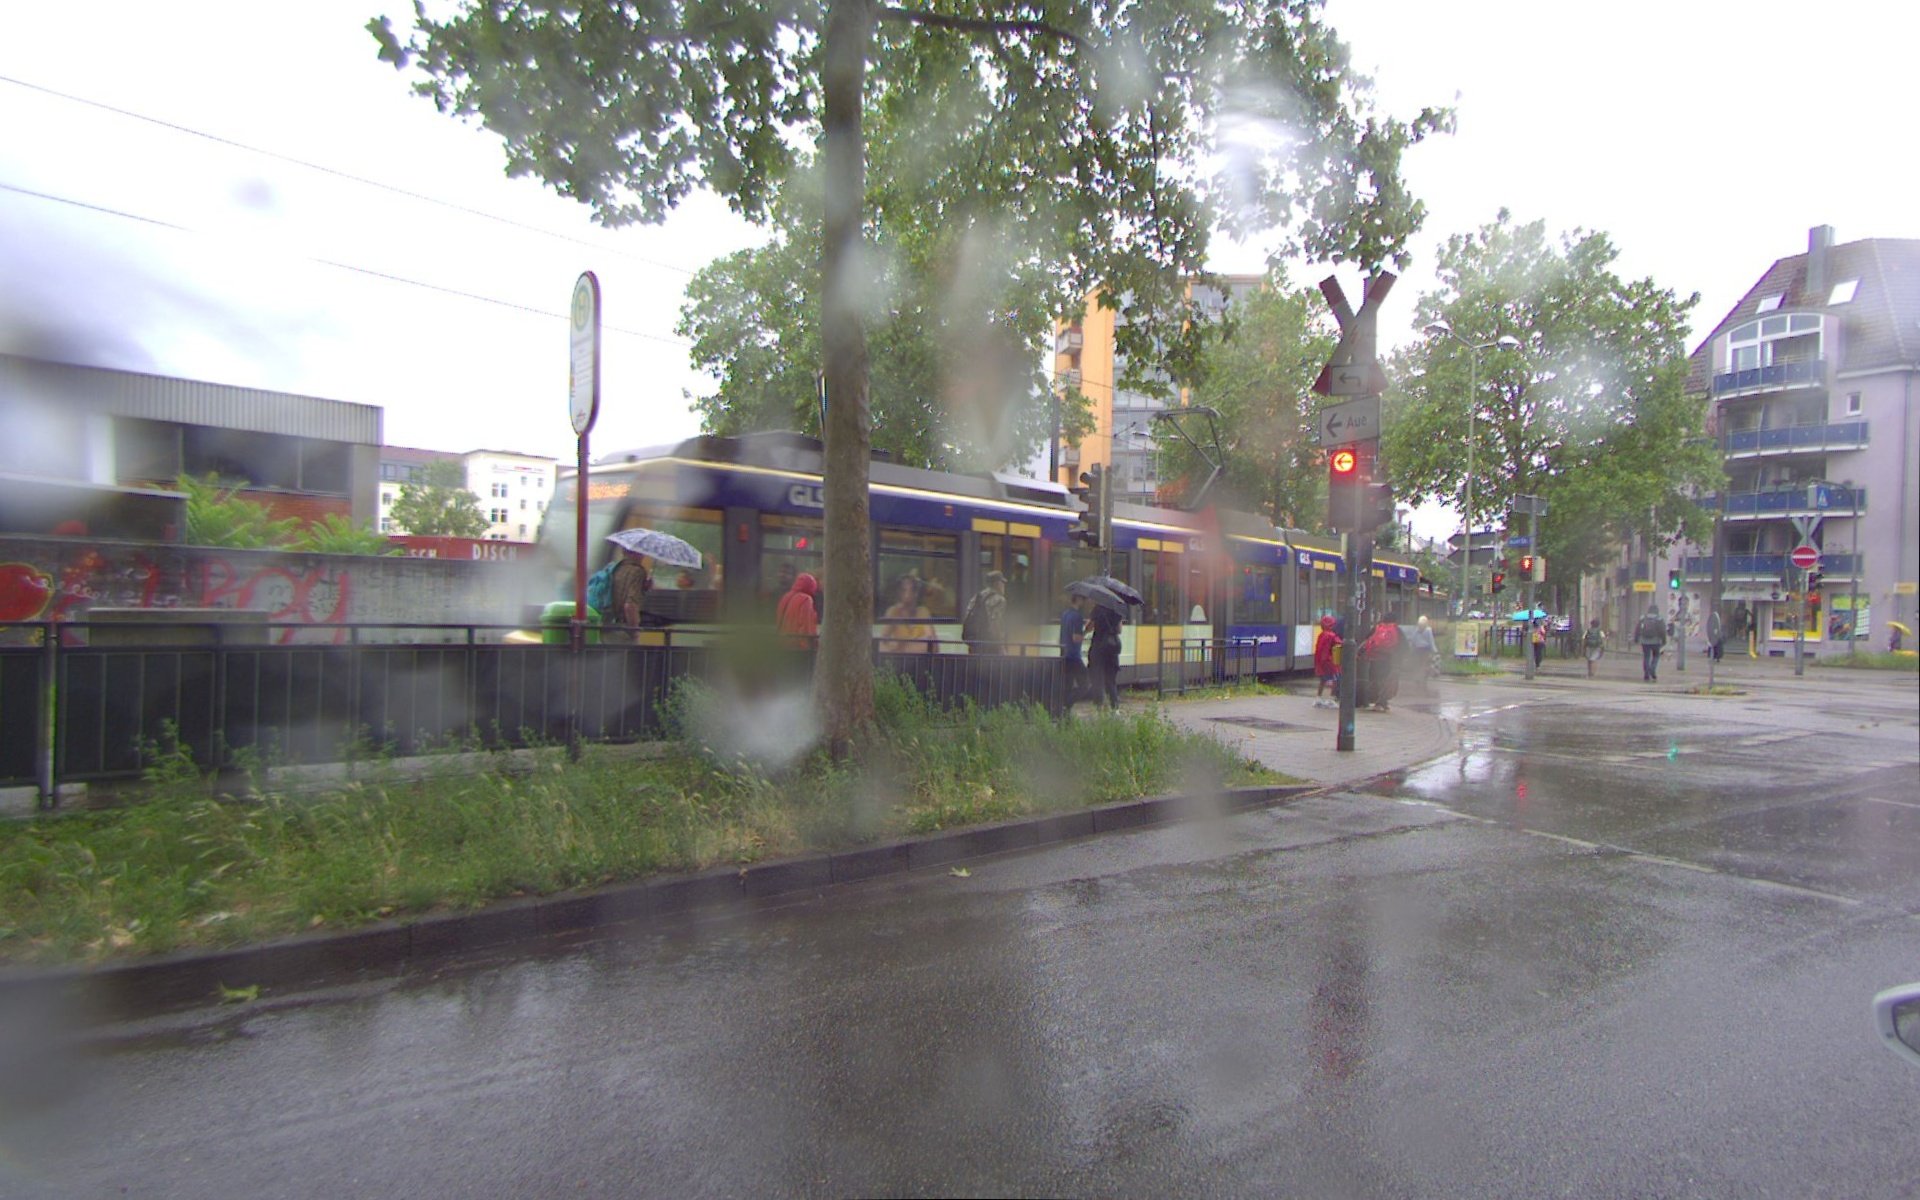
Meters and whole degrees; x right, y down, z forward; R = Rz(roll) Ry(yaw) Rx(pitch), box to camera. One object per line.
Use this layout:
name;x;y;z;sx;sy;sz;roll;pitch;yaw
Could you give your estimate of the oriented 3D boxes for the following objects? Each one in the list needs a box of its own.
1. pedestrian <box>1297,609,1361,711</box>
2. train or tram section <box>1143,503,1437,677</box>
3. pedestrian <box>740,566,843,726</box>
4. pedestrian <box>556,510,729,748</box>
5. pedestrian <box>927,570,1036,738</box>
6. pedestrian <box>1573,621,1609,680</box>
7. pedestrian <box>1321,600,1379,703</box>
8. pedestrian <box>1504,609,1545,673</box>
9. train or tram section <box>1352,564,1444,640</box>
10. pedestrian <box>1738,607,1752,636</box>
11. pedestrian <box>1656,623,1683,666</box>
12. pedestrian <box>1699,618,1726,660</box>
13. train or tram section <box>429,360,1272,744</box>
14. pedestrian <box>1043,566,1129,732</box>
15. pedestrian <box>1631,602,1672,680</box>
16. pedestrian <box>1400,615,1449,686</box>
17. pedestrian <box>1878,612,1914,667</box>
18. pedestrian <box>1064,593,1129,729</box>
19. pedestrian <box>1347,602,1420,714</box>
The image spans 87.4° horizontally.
pedestrian;5.769;0.924;15.714;0.653;1.540;0.676;1;0;-39
train or tram section;9.506;-0.113;26.974;2.825;3.593;13.656;2;0;39
pedestrian;-1.749;0.468;10.469;0.783;1.593;0.659;-2;0;24
pedestrian;-2.691;0.228;8.516;1.068;1.851;0.974;-1;0;-41
pedestrian;0.238;0.567;11.189;0.824;1.778;0.857;1;1;-41
pedestrian;15.486;1.228;24.654;0.638;1.414;0.782;1;0;26
pedestrian;6.668;0.868;17.194;0.823;1.721;0.689;-2;0;17
pedestrian;16.175;1.158;28.777;0.943;1.789;0.951;2;0;31
train or tram section;25.929;0.227;58.740;2.839;3.818;17.211;2;0;30
pedestrian;36.889;1.018;47.192;0.439;1.347;0.558;2;0;43
pedestrian;27.926;1.746;39.525;0.666;1.622;0.962;2;0;45
pedestrian;28.726;1.468;38.339;0.739;1.553;0.789;2;0;34
train or tram section;0.213;-0.333;16.016;2.828;3.593;15.288;2;0;42
pedestrian;1.531;0.564;12.093;0.854;1.889;0.892;1;0;16
pedestrian;17.189;1.006;24.967;0.777;1.880;0.679;2;1;37
pedestrian;9.259;0.999;20.035;0.704;1.367;0.650;1;1;-44
pedestrian;38.067;1.579;40.876;0.896;2.179;0.884;2;0;34
pedestrian;1.783;0.781;13.099;0.782;1.705;0.660;-2;0;8
pedestrian;6.473;0.861;15.358;0.809;1.646;0.724;0;0;-37
